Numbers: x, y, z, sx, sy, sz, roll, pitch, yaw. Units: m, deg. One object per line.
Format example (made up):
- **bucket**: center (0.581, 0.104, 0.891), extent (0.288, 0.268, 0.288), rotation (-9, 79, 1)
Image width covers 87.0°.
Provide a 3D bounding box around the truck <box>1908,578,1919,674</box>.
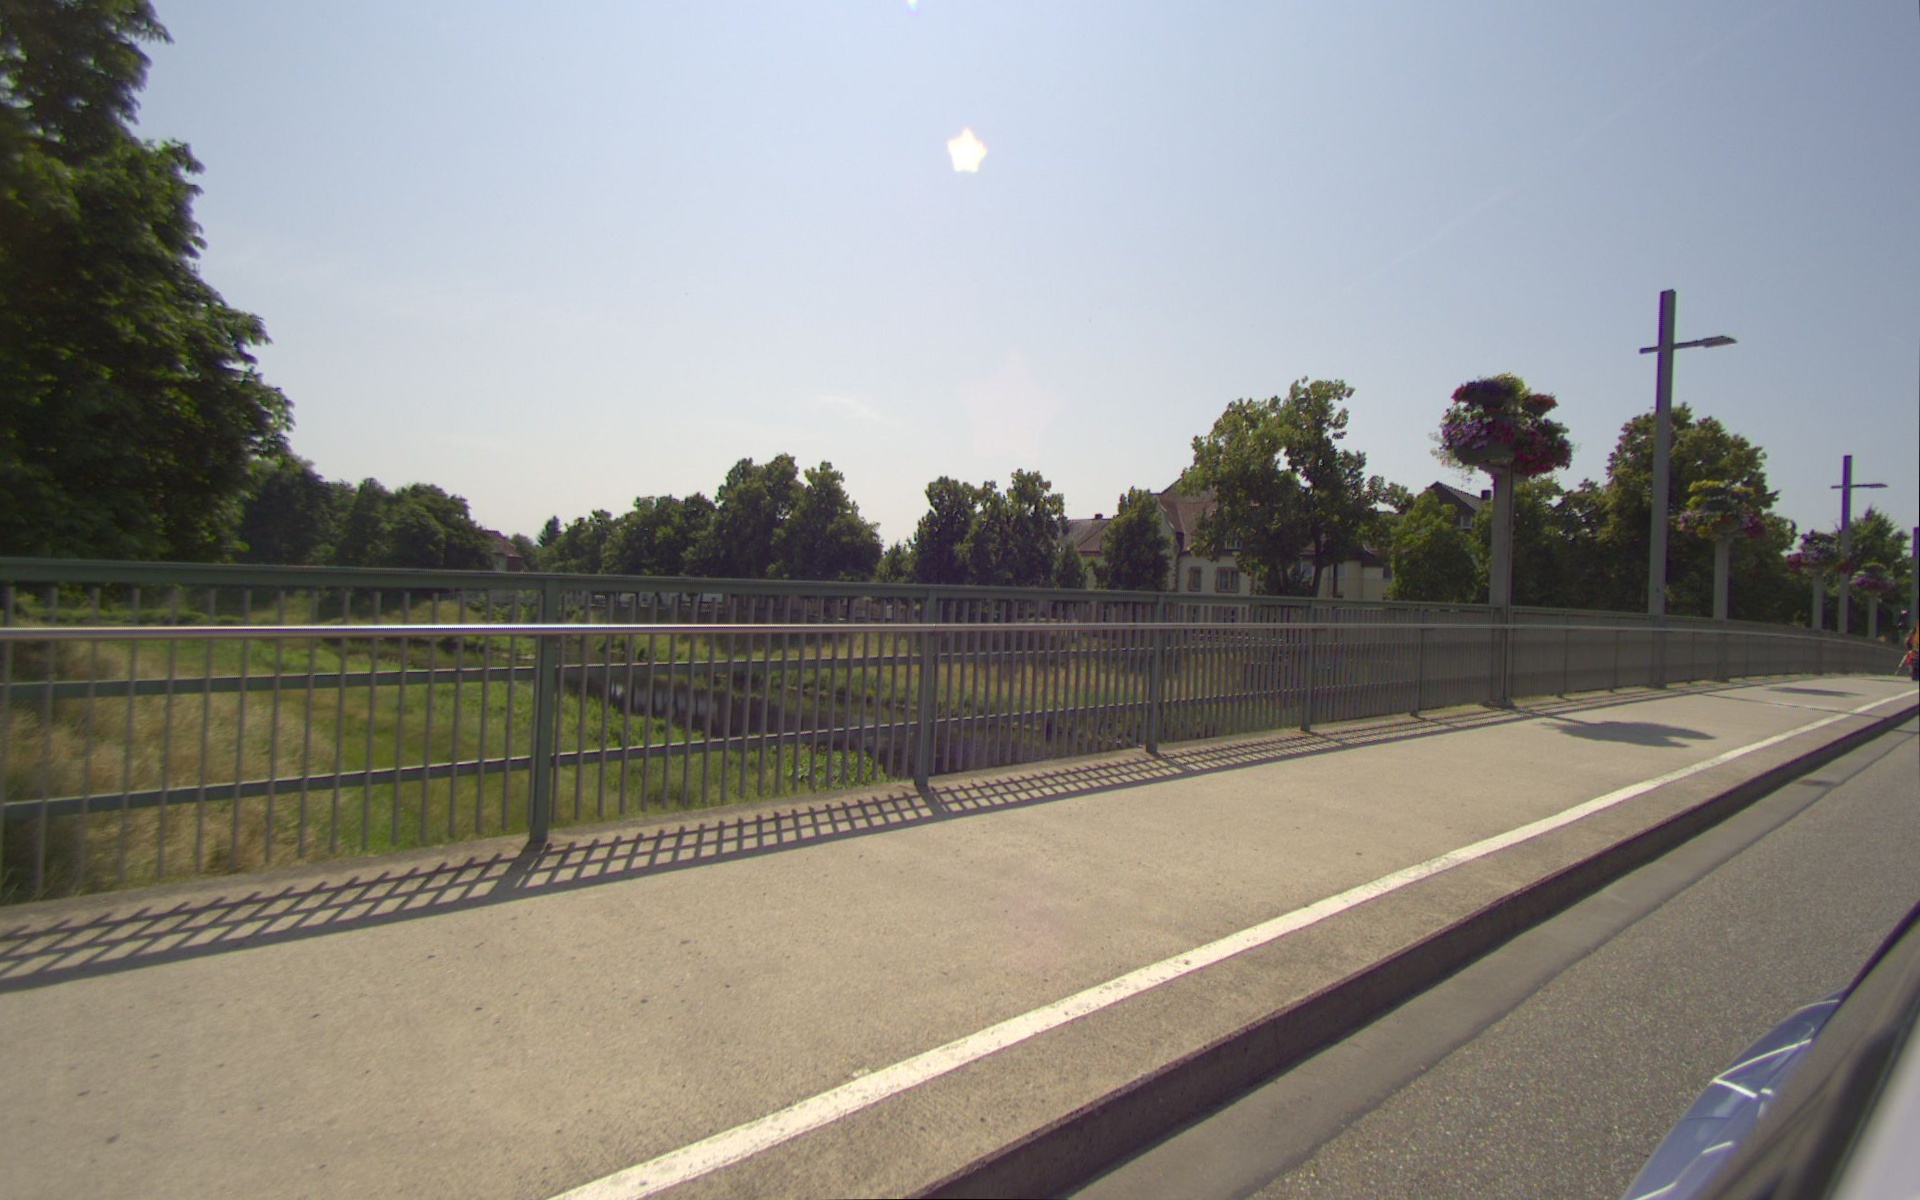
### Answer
- **truck**: center (30.106, 0.899, 29.787), extent (5.720, 2.725, 2.611), rotation (3, -1, -41)
